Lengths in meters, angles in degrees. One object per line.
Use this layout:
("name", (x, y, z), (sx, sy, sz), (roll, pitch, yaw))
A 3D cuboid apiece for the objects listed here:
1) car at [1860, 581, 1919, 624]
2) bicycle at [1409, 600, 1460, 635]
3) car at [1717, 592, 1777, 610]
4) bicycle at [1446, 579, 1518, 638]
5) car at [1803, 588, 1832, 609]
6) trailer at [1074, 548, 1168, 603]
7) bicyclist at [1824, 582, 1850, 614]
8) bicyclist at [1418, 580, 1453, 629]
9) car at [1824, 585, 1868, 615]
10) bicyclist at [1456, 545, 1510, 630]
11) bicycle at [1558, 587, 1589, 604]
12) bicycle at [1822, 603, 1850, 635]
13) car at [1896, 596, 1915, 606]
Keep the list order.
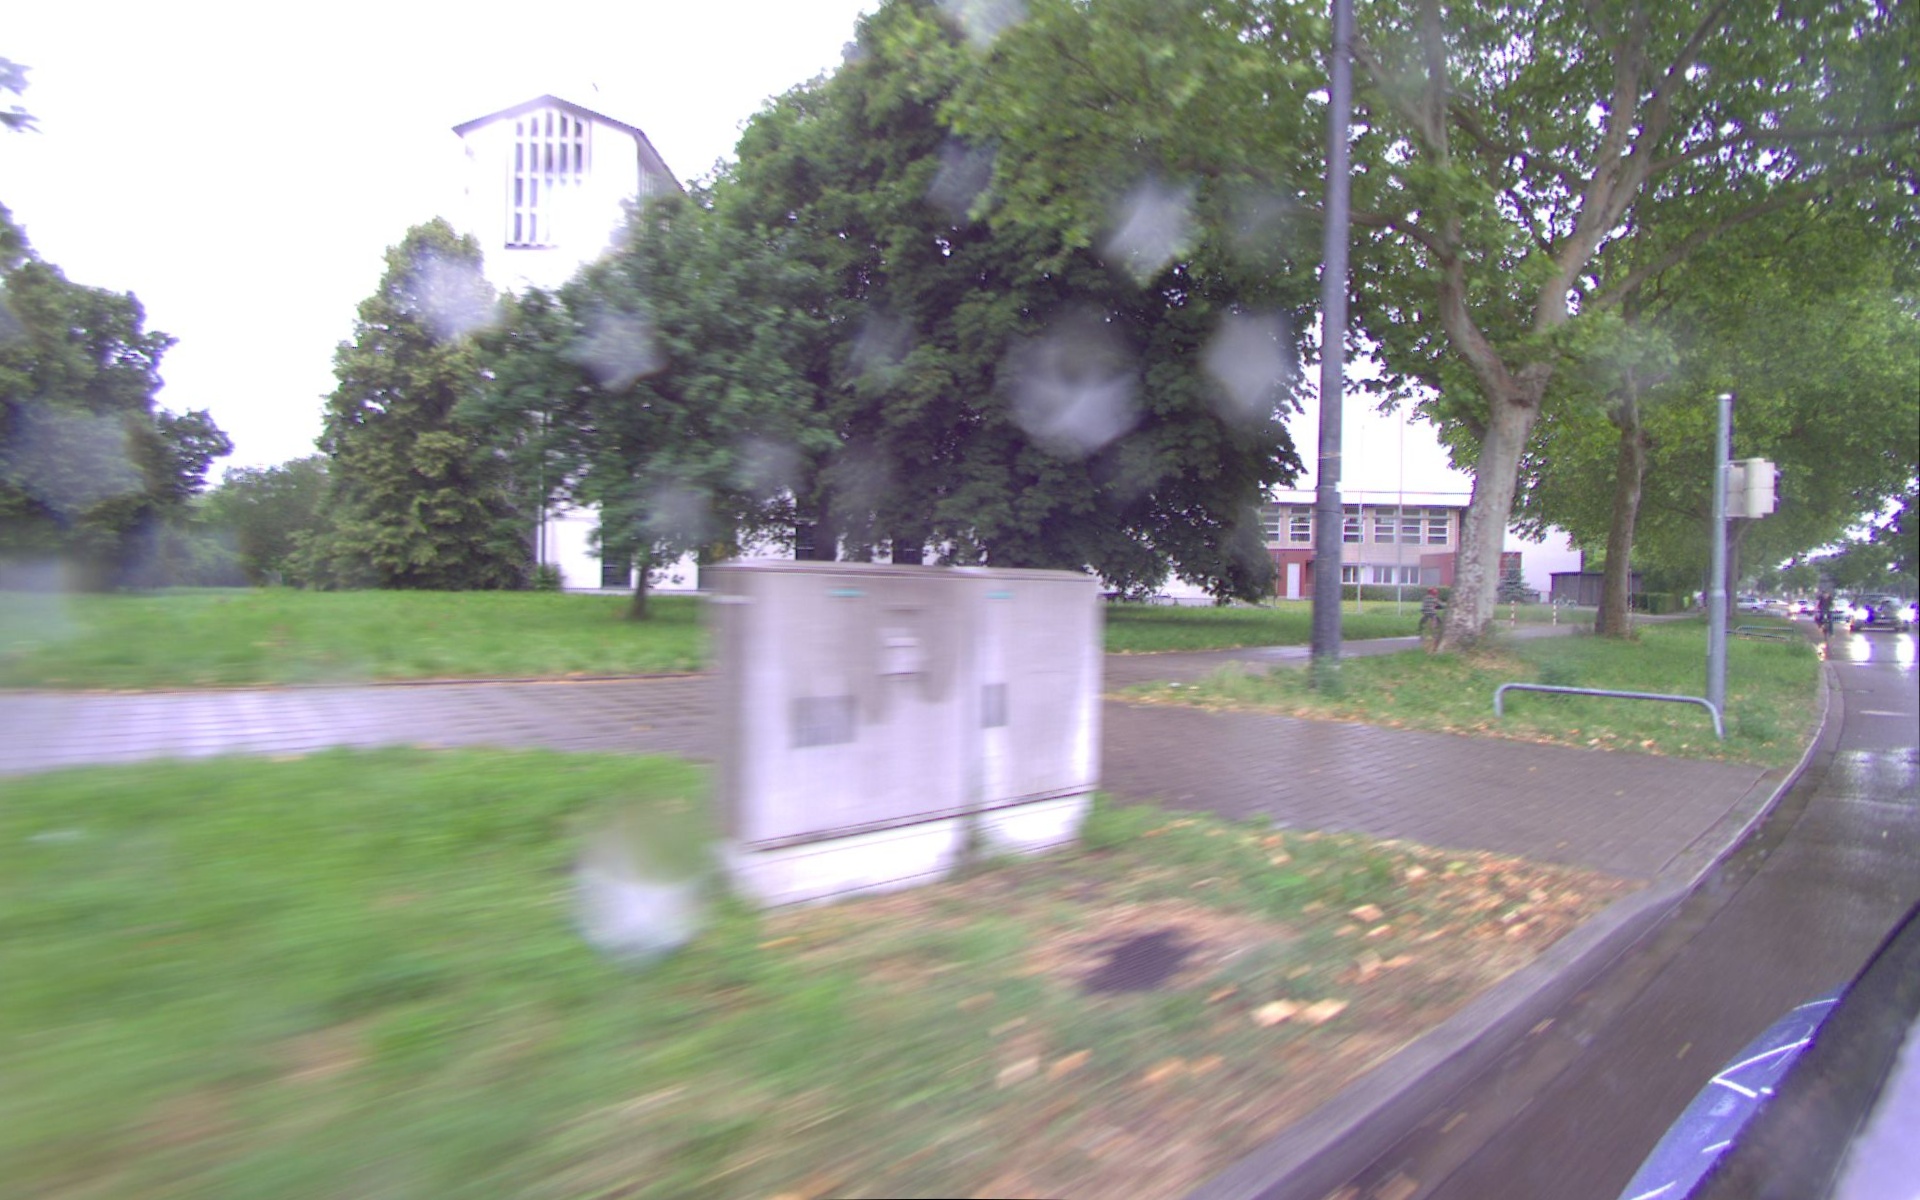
("car", (40.270, 0.130, 43.796), (1.759, 1.747, 3.879), (-1, -1, 39))
("bicycle", (10.480, 0.376, 22.322), (1.432, 0.717, 0.487), (-1, 2, -42))
("car", (72.508, 0.079, 93.324), (3.967, 1.505, 1.628), (2, 1, 21))
("bicycle", (10.967, 0.148, 21.224), (1.939, 1.156, 0.712), (-2, 2, -43))
("car", (77.933, -0.161, 92.054), (1.759, 1.746, 3.882), (2, 2, 37))
("trailer", (7.300, -1.111, 46.142), (3.945, 2.337, 1.892), (1, 1, 1))
("bicyclist", (30.443, -0.077, 35.129), (0.620, 1.098, 0.615), (2, 2, 43))
("bicyclist", (10.486, 0.093, 22.317), (0.581, 1.051, 0.487), (0, 1, -42))
("car", (53.072, -0.008, 60.693), (1.759, 1.747, 3.880), (0, 1, 38))
("bicyclist", (10.980, -0.272, 21.227), (0.941, 1.742, 0.712), (-1, 2, -43))
("bicycle", (42.833, -0.313, 70.662), (1.899, 1.135, 0.522), (2, 2, -7))
("bicycle", (30.468, 0.648, 35.177), (0.657, 1.026, 2.222), (2, 2, 43))
("car", (143.233, 0.123, 153.279), (1.751, 1.536, 3.800), (-2, -1, 39))
